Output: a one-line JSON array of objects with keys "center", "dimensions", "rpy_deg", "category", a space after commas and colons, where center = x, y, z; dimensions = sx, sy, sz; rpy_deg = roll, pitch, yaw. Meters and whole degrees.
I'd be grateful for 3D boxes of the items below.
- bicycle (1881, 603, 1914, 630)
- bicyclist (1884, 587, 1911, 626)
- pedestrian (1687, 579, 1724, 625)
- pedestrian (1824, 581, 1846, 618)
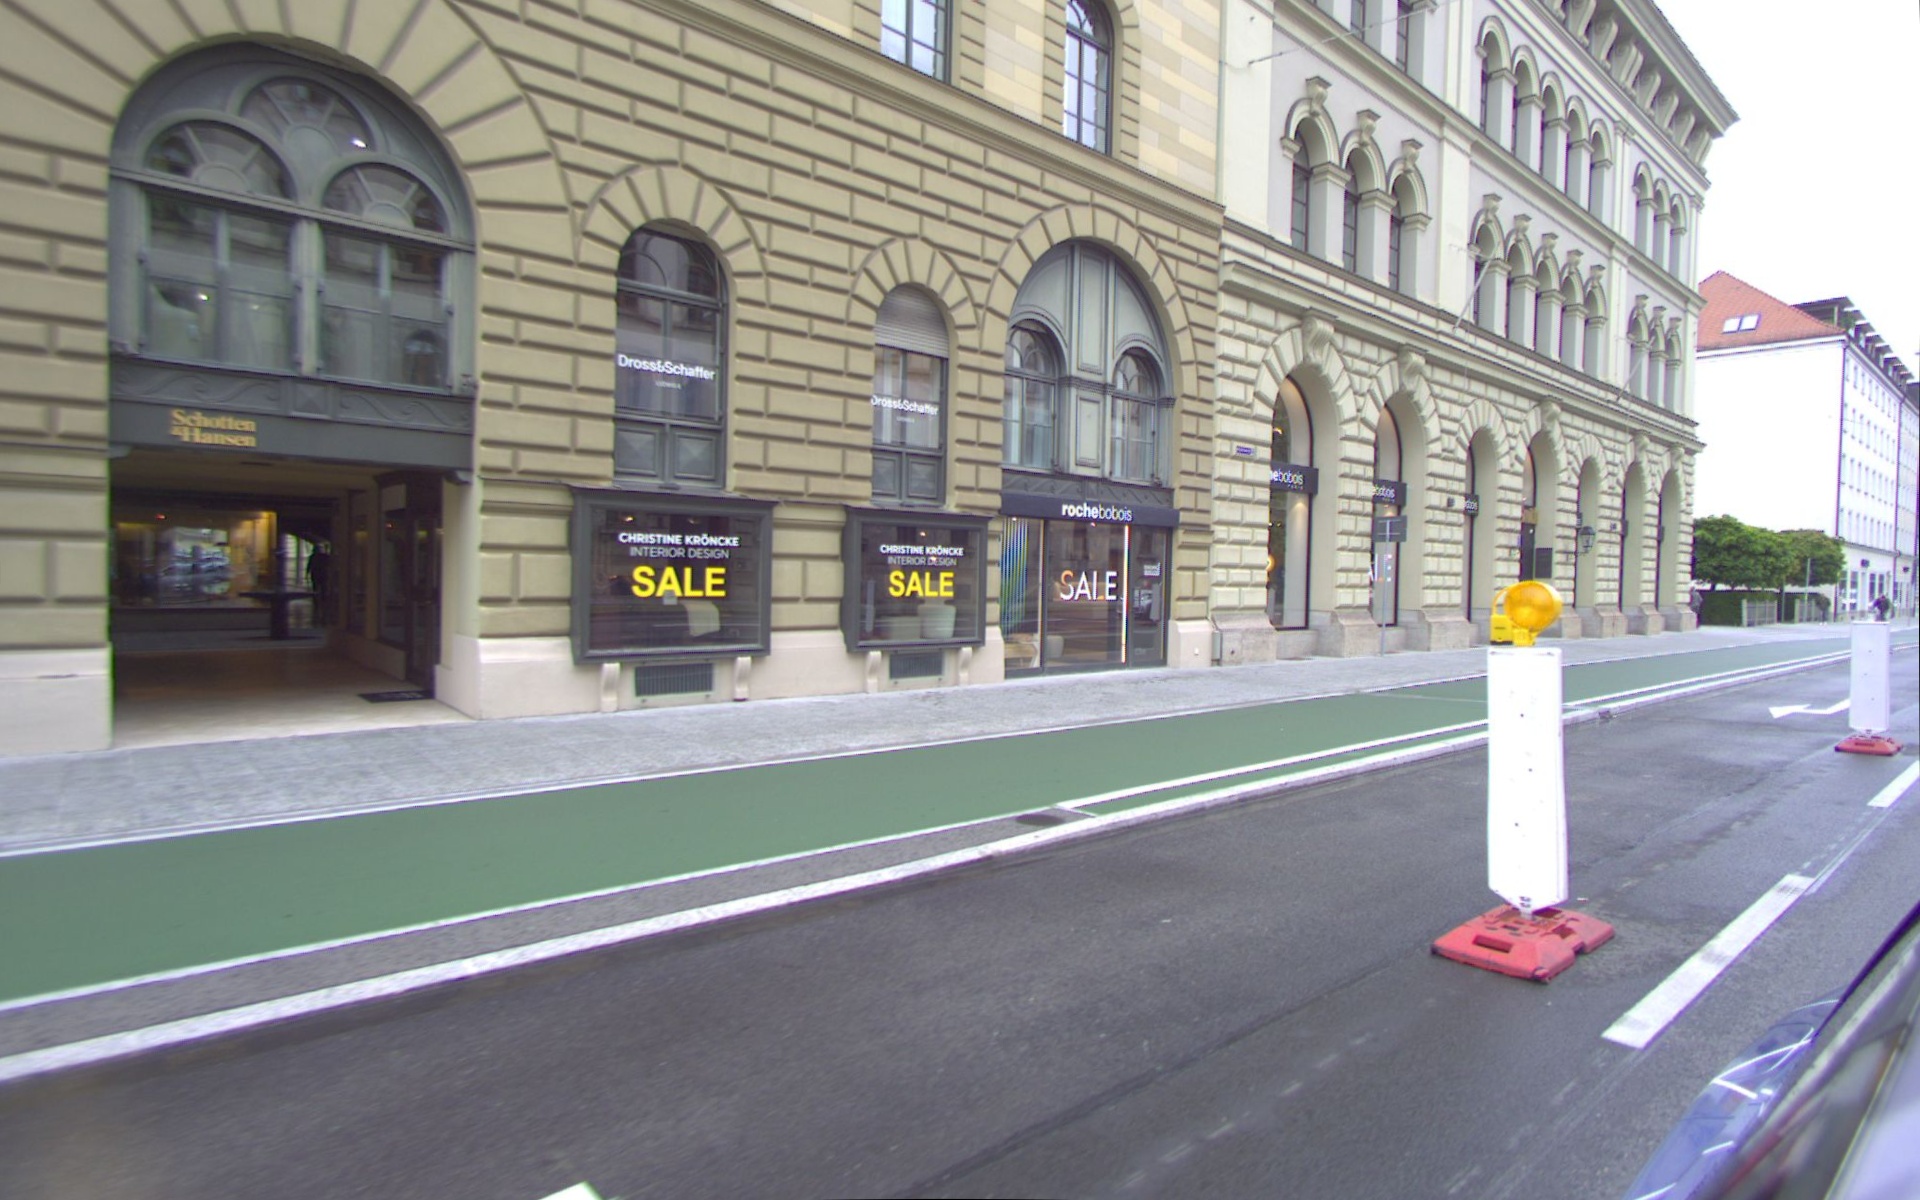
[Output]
[{"center": [37.946, 0.649, 40.952], "dimensions": [2.487, 1.045, 0.750], "rpy_deg": [0, 0, -41], "category": "bicycle"}, {"center": [37.911, 0.246, 40.917], "dimensions": [0.843, 1.572, 0.723], "rpy_deg": [0, 0, -41], "category": "bicyclist"}, {"center": [28.737, 0.057, 39.029], "dimensions": [0.623, 1.725, 1.084], "rpy_deg": [2, 2, 6], "category": "pedestrian"}, {"center": [45.589, -0.023, 52.738], "dimensions": [0.811, 1.897, 0.655], "rpy_deg": [0, 3, -41], "category": "pedestrian"}]
